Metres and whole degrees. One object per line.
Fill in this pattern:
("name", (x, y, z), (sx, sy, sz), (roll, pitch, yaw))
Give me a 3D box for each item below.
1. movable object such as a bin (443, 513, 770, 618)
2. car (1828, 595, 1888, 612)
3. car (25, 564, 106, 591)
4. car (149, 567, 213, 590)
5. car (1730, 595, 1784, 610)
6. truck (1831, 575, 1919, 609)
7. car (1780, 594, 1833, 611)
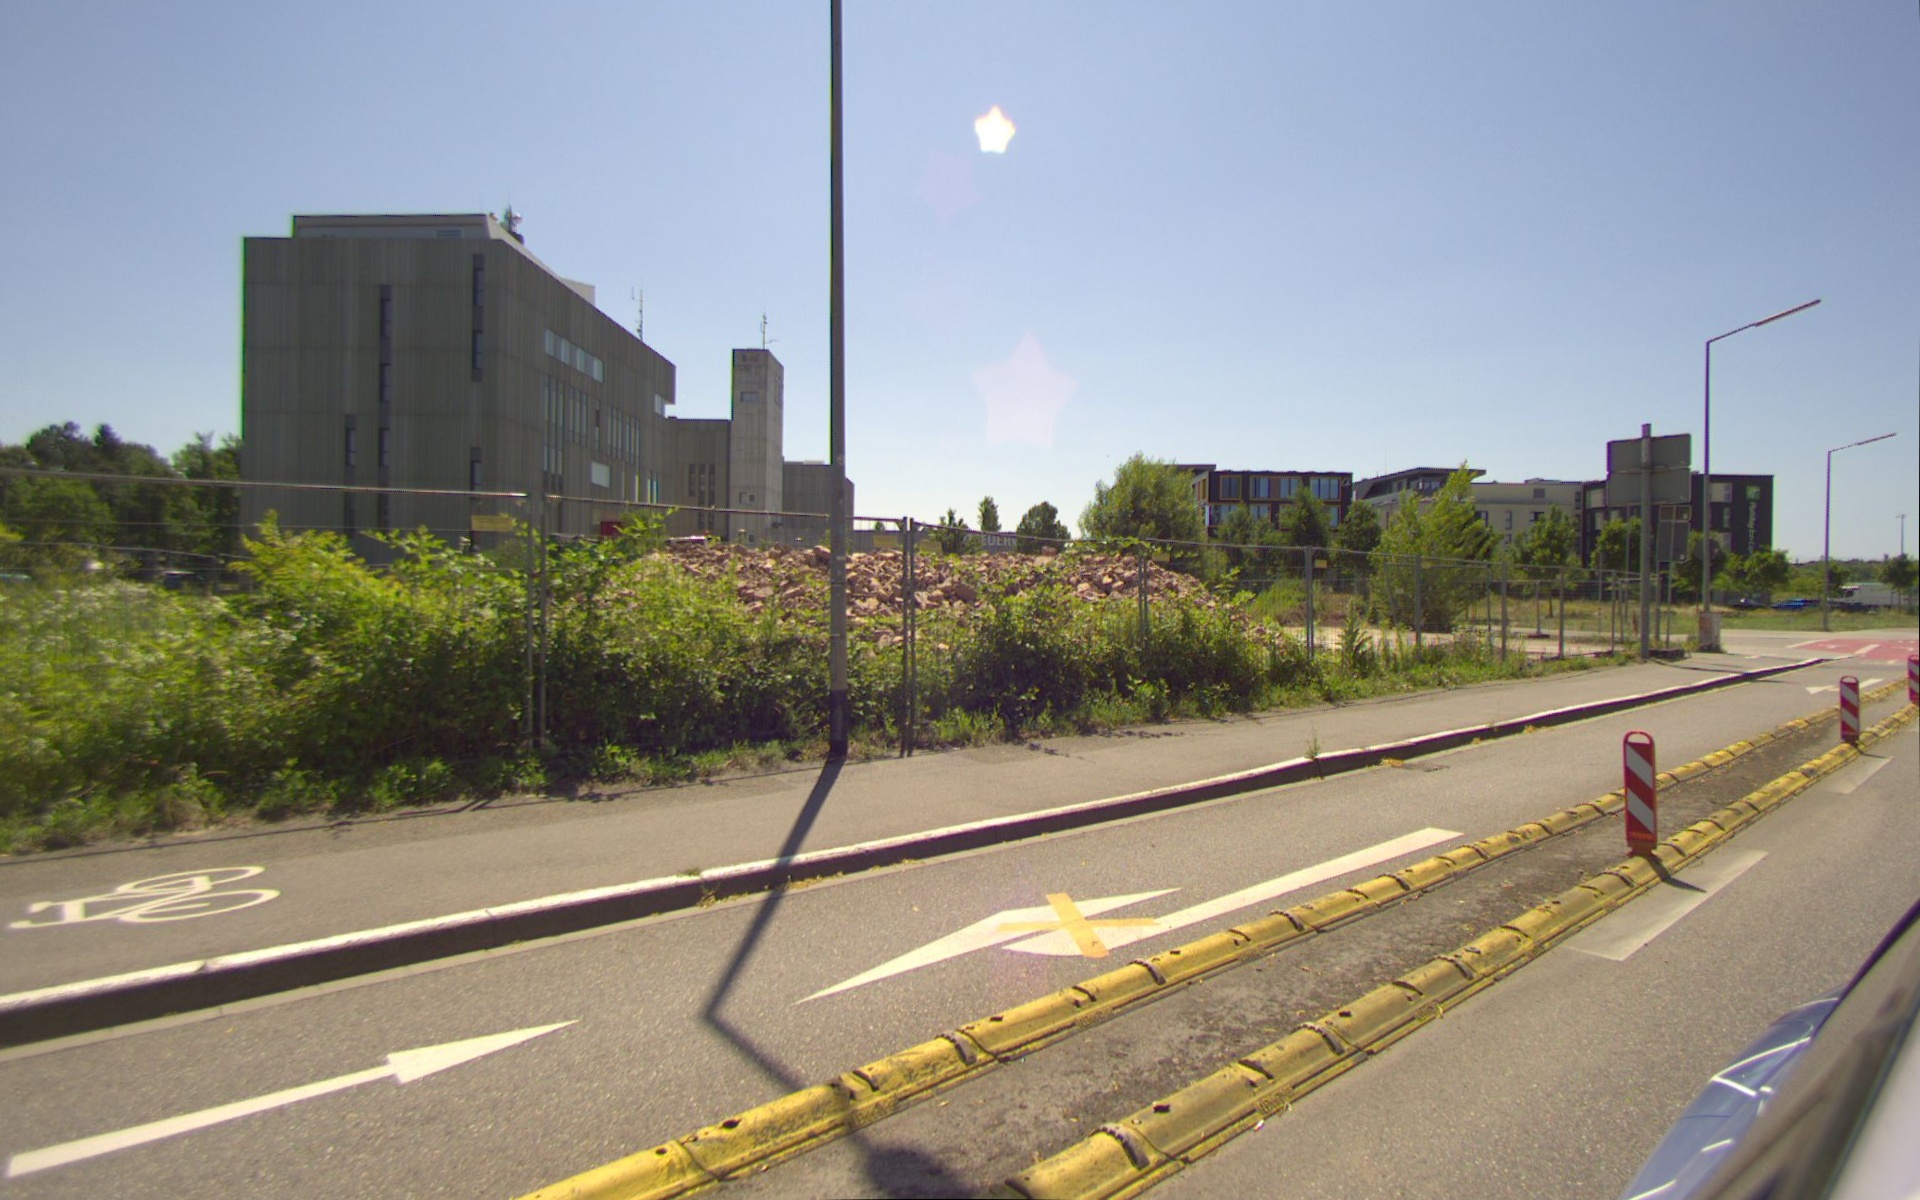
("movable object such as a bin", (-12.761, -1.145, 37.266), (10.291, 3.301, 4.946), (0, 1, -43))
("car", (90.092, 0.317, 101.628), (1.993, 1.581, 4.508), (1, 1, 0))
("car", (-57.588, -1.422, 65.234), (1.809, 1.638, 3.638), (1, 1, 5))
("car", (-57.697, -1.599, 75.056), (1.809, 1.638, 3.638), (1, 1, 5))
("car", (80.649, 0.232, 102.496), (1.923, 1.462, 4.131), (1, 1, -5))
("truck", (104.277, -0.897, 112.381), (11.918, 3.504, 3.017), (1, 2, 3))
("car", (85.543, 0.224, 102.310), (1.918, 1.672, 4.071), (1, 1, 1))
